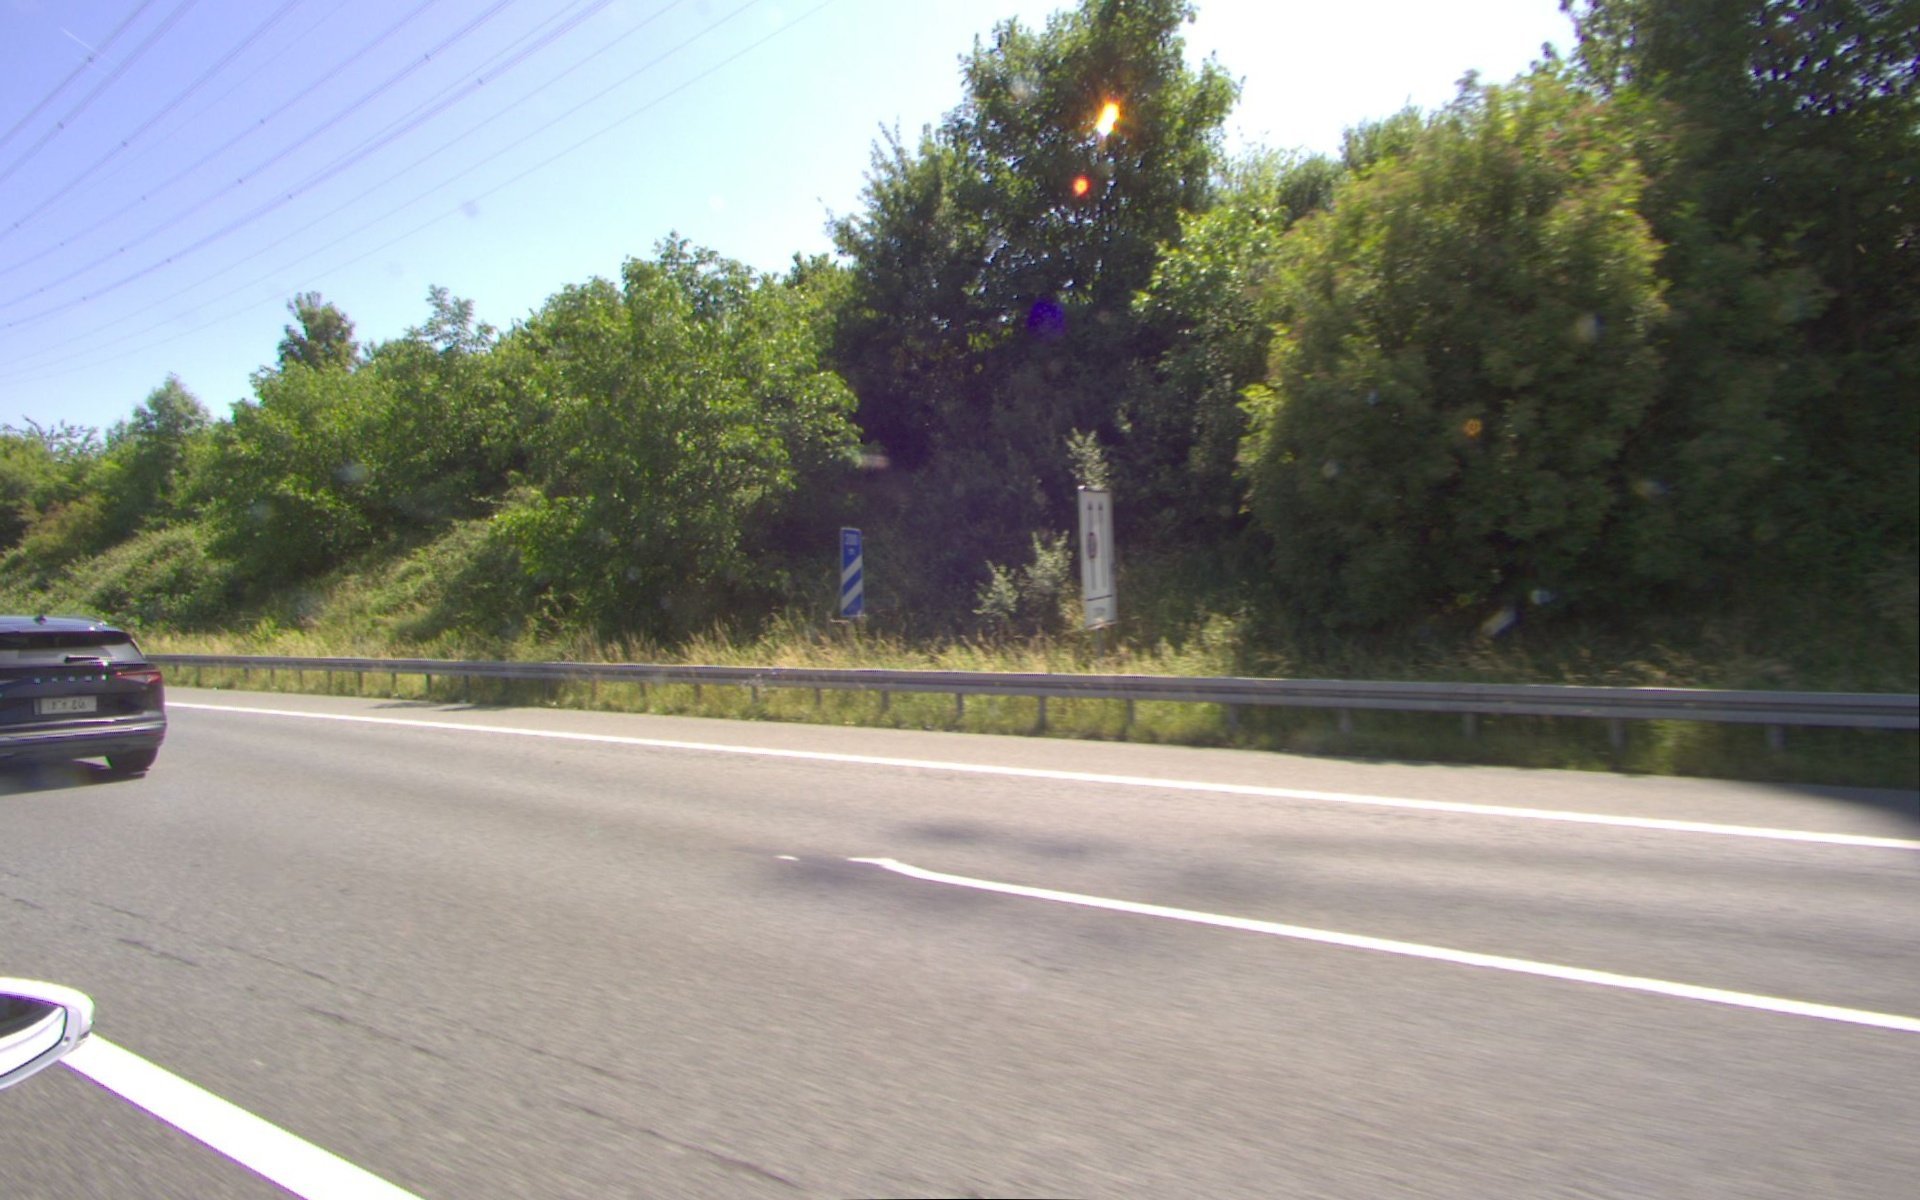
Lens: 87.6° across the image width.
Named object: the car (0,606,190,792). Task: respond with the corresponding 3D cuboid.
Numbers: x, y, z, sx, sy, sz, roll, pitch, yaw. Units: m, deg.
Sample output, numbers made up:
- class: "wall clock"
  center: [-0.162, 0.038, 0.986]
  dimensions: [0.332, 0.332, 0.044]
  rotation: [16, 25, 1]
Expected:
- class: "car"
  center: [-10.066, 0.909, 10.385]
  dimensions: [4.365, 1.635, 1.826]
  rotation: [-1, -1, 31]
